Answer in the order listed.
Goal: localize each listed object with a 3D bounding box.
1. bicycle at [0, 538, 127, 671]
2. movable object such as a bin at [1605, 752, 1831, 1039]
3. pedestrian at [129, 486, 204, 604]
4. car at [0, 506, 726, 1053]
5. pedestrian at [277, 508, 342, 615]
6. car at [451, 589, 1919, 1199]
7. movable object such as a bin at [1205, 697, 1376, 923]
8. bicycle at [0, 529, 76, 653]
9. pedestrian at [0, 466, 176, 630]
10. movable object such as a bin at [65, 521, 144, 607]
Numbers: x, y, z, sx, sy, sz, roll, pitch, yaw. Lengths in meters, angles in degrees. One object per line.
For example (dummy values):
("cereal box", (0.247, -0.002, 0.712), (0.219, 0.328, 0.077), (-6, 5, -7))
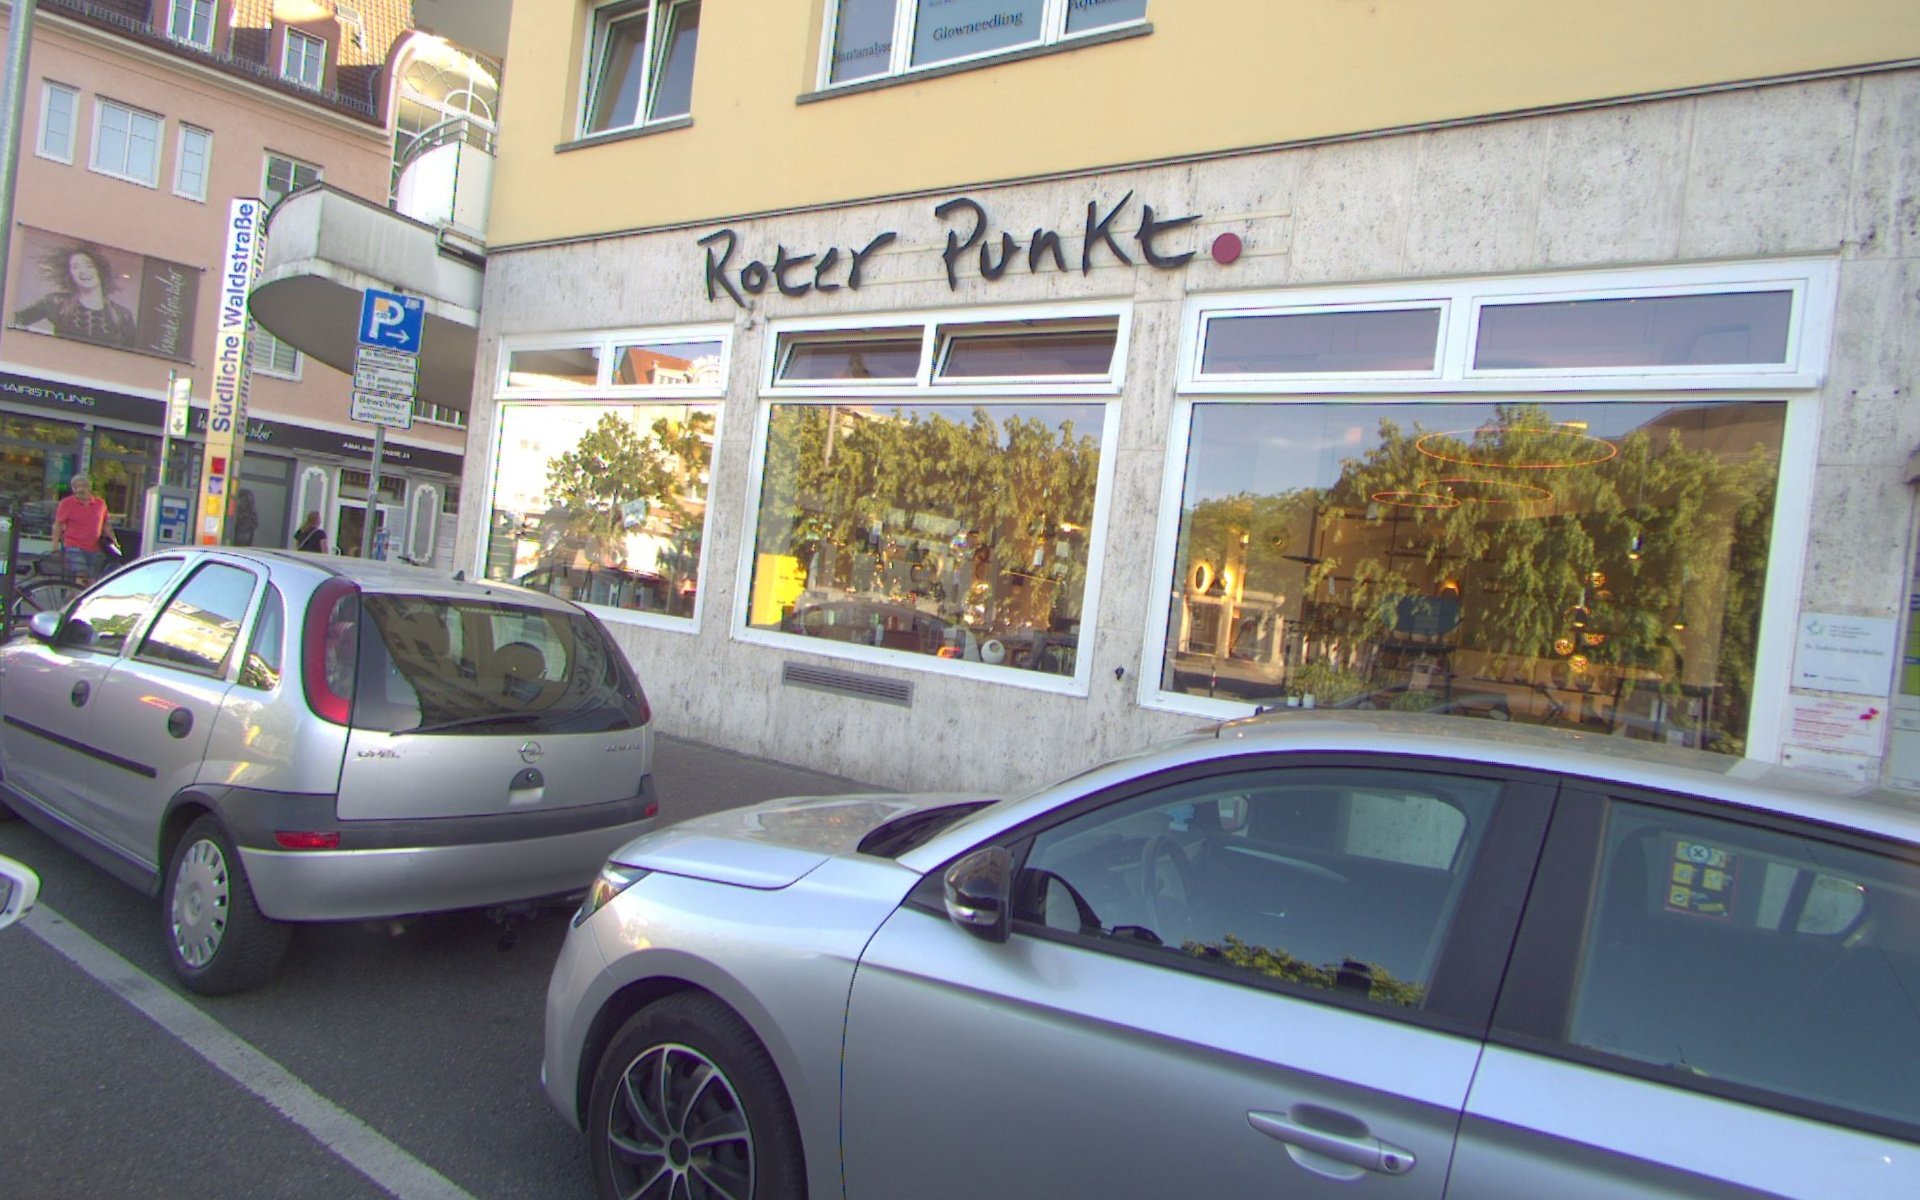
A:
("bicycle", (-8.165, 0.003, 8.253), (0.642, 1.057, 1.884), (7, 0, 33))
("movable object such as a bin", (3.373, 1.265, 4.546), (0.639, 1.035, 0.738), (6, -1, 31))
("pedestrian", (-13.146, -0.906, 16.674), (0.879, 1.875, 0.680), (6, 3, 33))
("car", (-2.957, 0.484, 4.460), (3.520, 1.443, 1.587), (6, -2, 32))
("pedestrian", (-11.337, -0.665, 17.566), (0.713, 1.777, 0.783), (4, 2, -22))
("car", (0.780, 0.944, 2.281), (3.624, 1.453, 1.587), (6, -2, 30))
("movable object such as a bin", (1.814, 1.096, 5.482), (0.639, 1.035, 0.738), (6, -1, 31))
("bicycle", (-9.056, -0.150, 8.797), (0.642, 1.072, 1.816), (7, -1, 33))
("pedestrian", (-10.441, -0.602, 12.046), (1.092, 1.739, 1.062), (7, -1, 19))
("movable object such as a bin", (-11.956, -0.498, 14.064), (0.716, 1.117, 0.636), (7, 2, 35))
